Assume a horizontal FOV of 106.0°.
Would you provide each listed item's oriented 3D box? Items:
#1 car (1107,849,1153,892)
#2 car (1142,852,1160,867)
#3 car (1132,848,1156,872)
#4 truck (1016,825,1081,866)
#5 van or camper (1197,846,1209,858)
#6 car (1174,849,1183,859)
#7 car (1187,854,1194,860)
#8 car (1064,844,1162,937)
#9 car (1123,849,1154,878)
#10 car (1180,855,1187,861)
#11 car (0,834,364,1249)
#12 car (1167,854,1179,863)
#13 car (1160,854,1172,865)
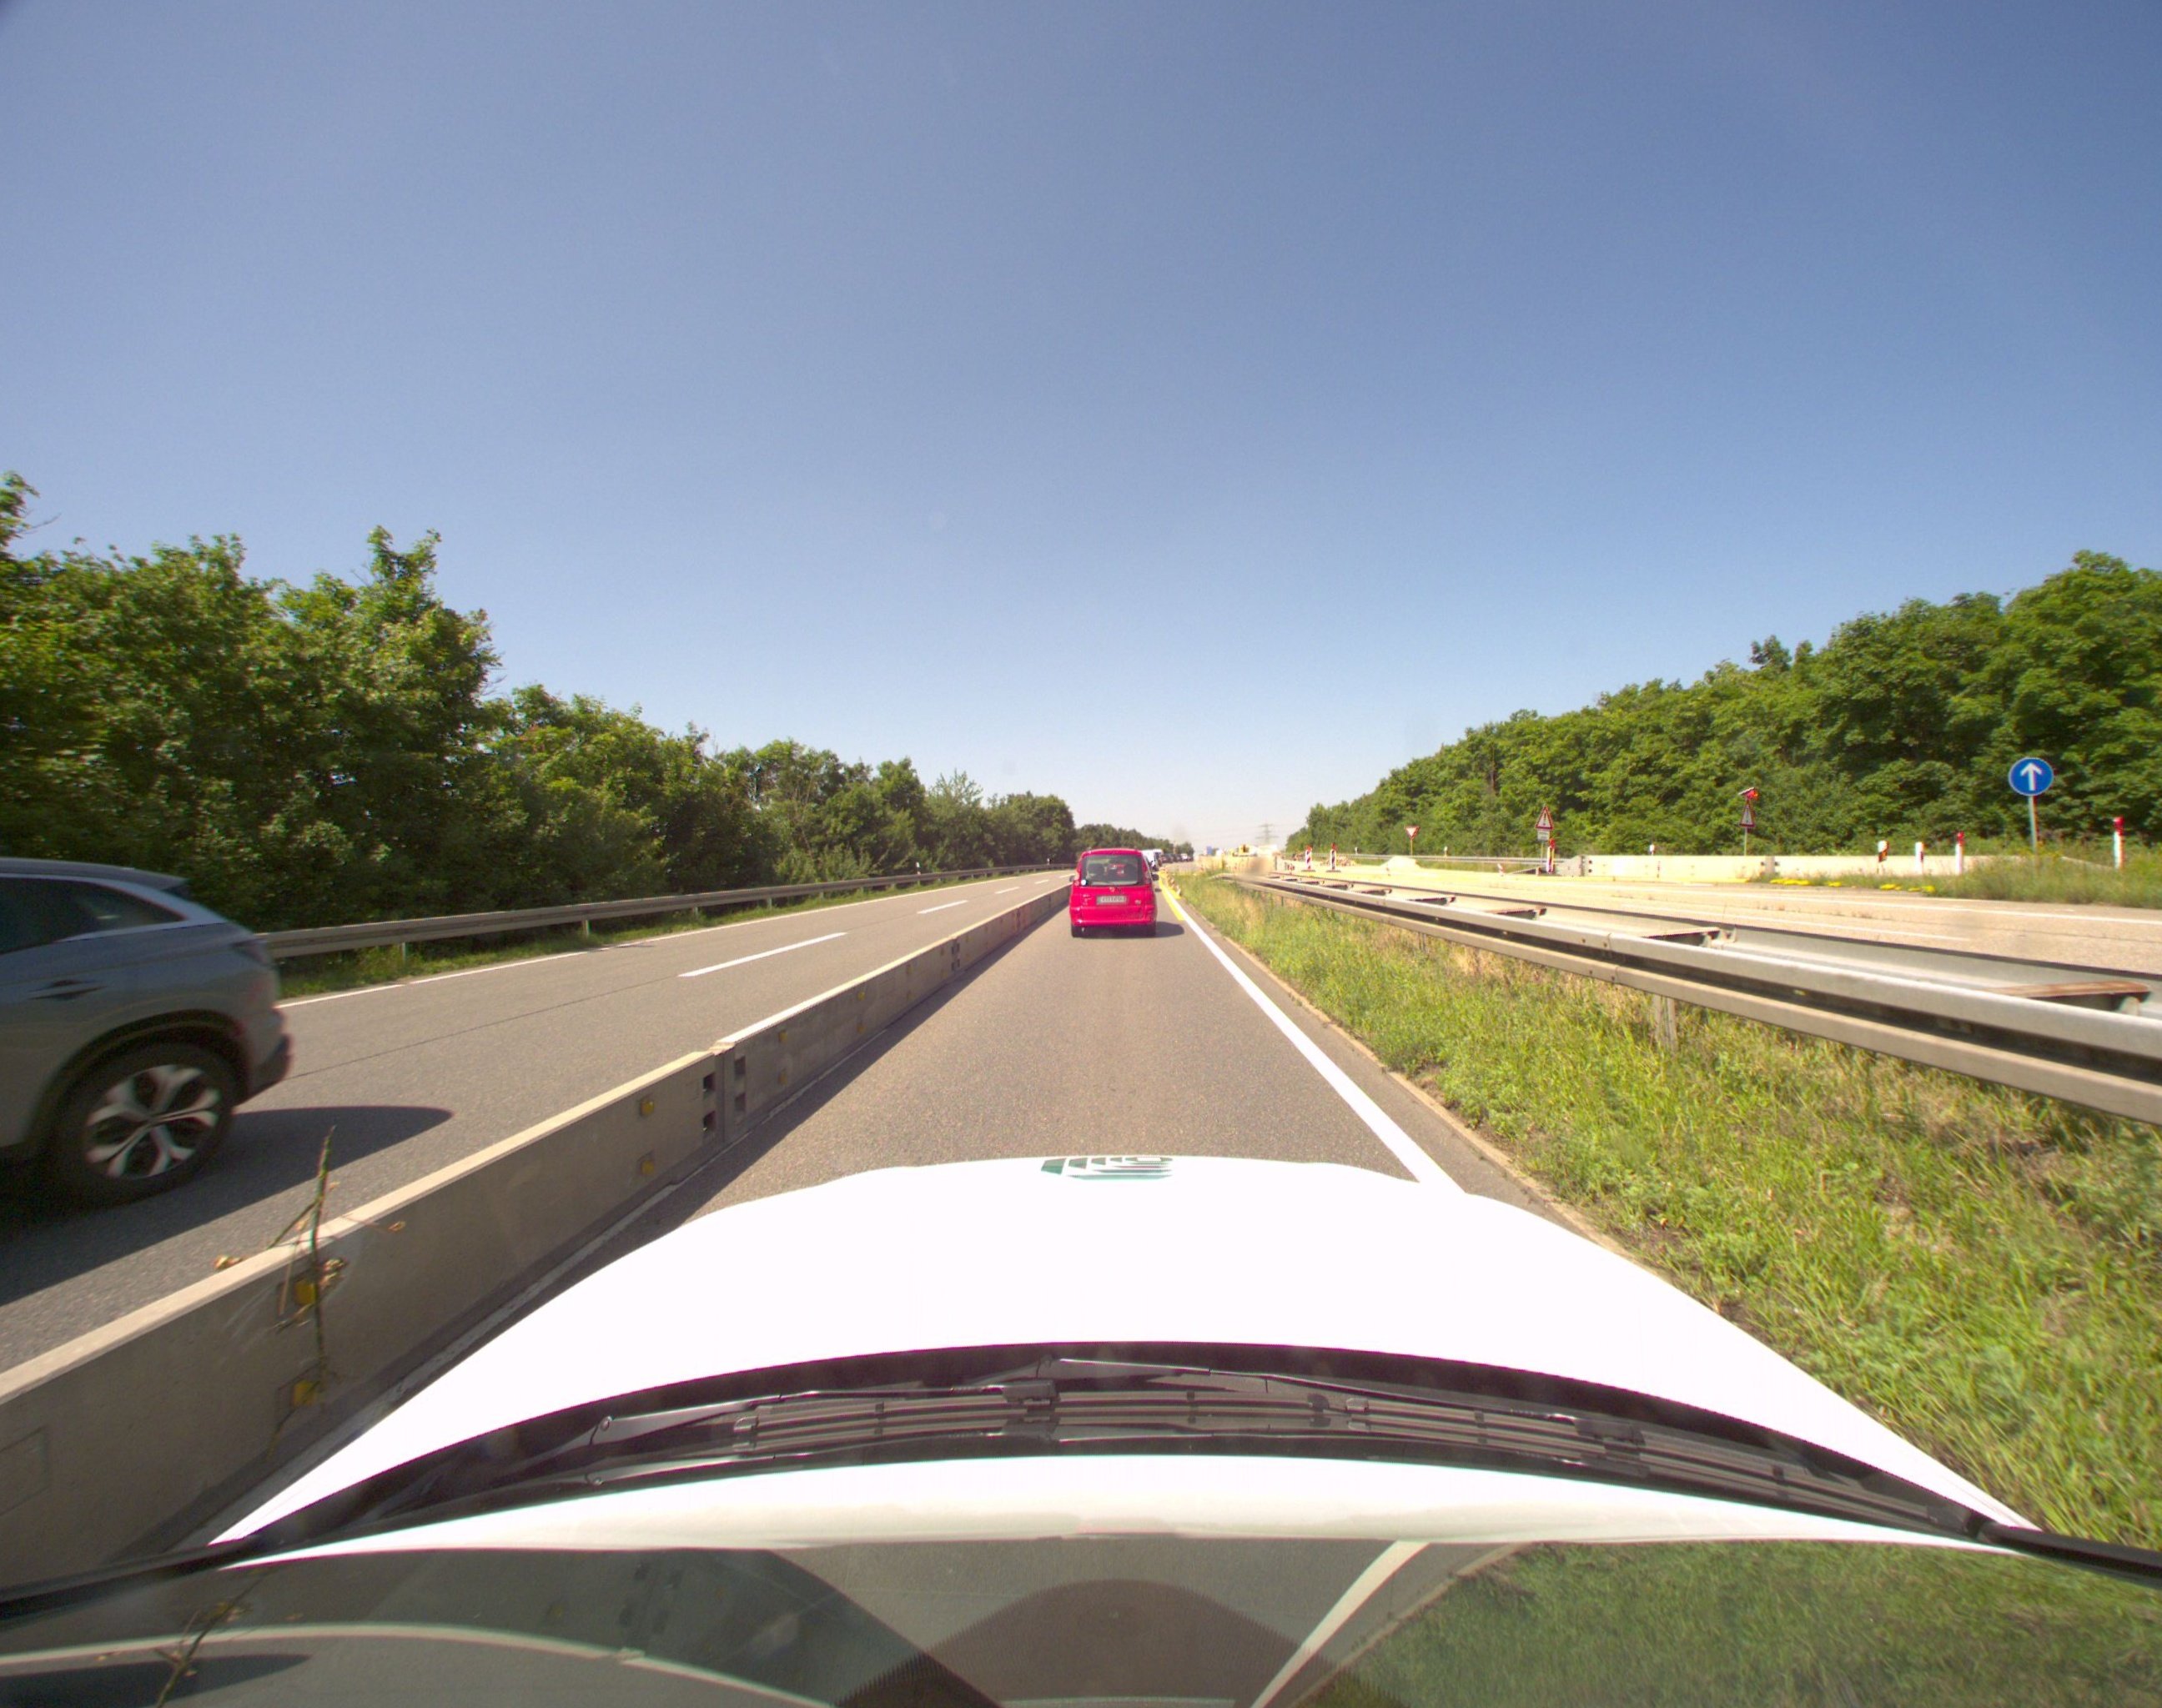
[{"bbox_3d":[2.086,0.662,34.764,1.822,1.722,4.004,-1,0,3],"label":"car"},{"bbox_3d":[8.042,0.615,93.684,1.985,1.750,4.004,0,0,4],"label":"car"},{"bbox_3d":[5.415,0.517,69.552,1.984,2.003,4.006,-1,0,5],"label":"car"},{"bbox_3d":[-4.563,-1.177,115.081,8.580,5.375,3.393,-2,0,4],"label":"truck"},{"bbox_3d":[29.102,-0.484,194.261,2.320,2.707,4.594,-2,-1,1],"label":"van or camper"},{"bbox_3d":[18.604,0.030,155.999,1.495,1.736,3.173,-1,0,4],"label":"car"},{"bbox_3d":[24.903,0.630,185.612,1.494,1.451,3.175,-1,0,6],"label":"car"},{"bbox_3d":[0.677,0.672,16.812,1.745,1.673,4.003,-1,0,3],"label":"car"},{"bbox_3d":[3.872,0.634,54.434,1.984,1.838,4.005,-1,0,4],"label":"car"},{"bbox_3d":[21.801,0.863,172.661,1.414,1.298,2.883,-1,0,6],"label":"car"},{"bbox_3d":[-5.217,0.752,2.623,1.851,1.638,4.385,-1,0,1],"label":"car"},{"bbox_3d":[15.993,0.760,142.076,1.983,1.585,4.008,-1,0,7],"label":"car"},{"bbox_3d":[12.510,0.812,119.942,1.495,1.450,3.328,-2,0,3],"label":"car"}]
